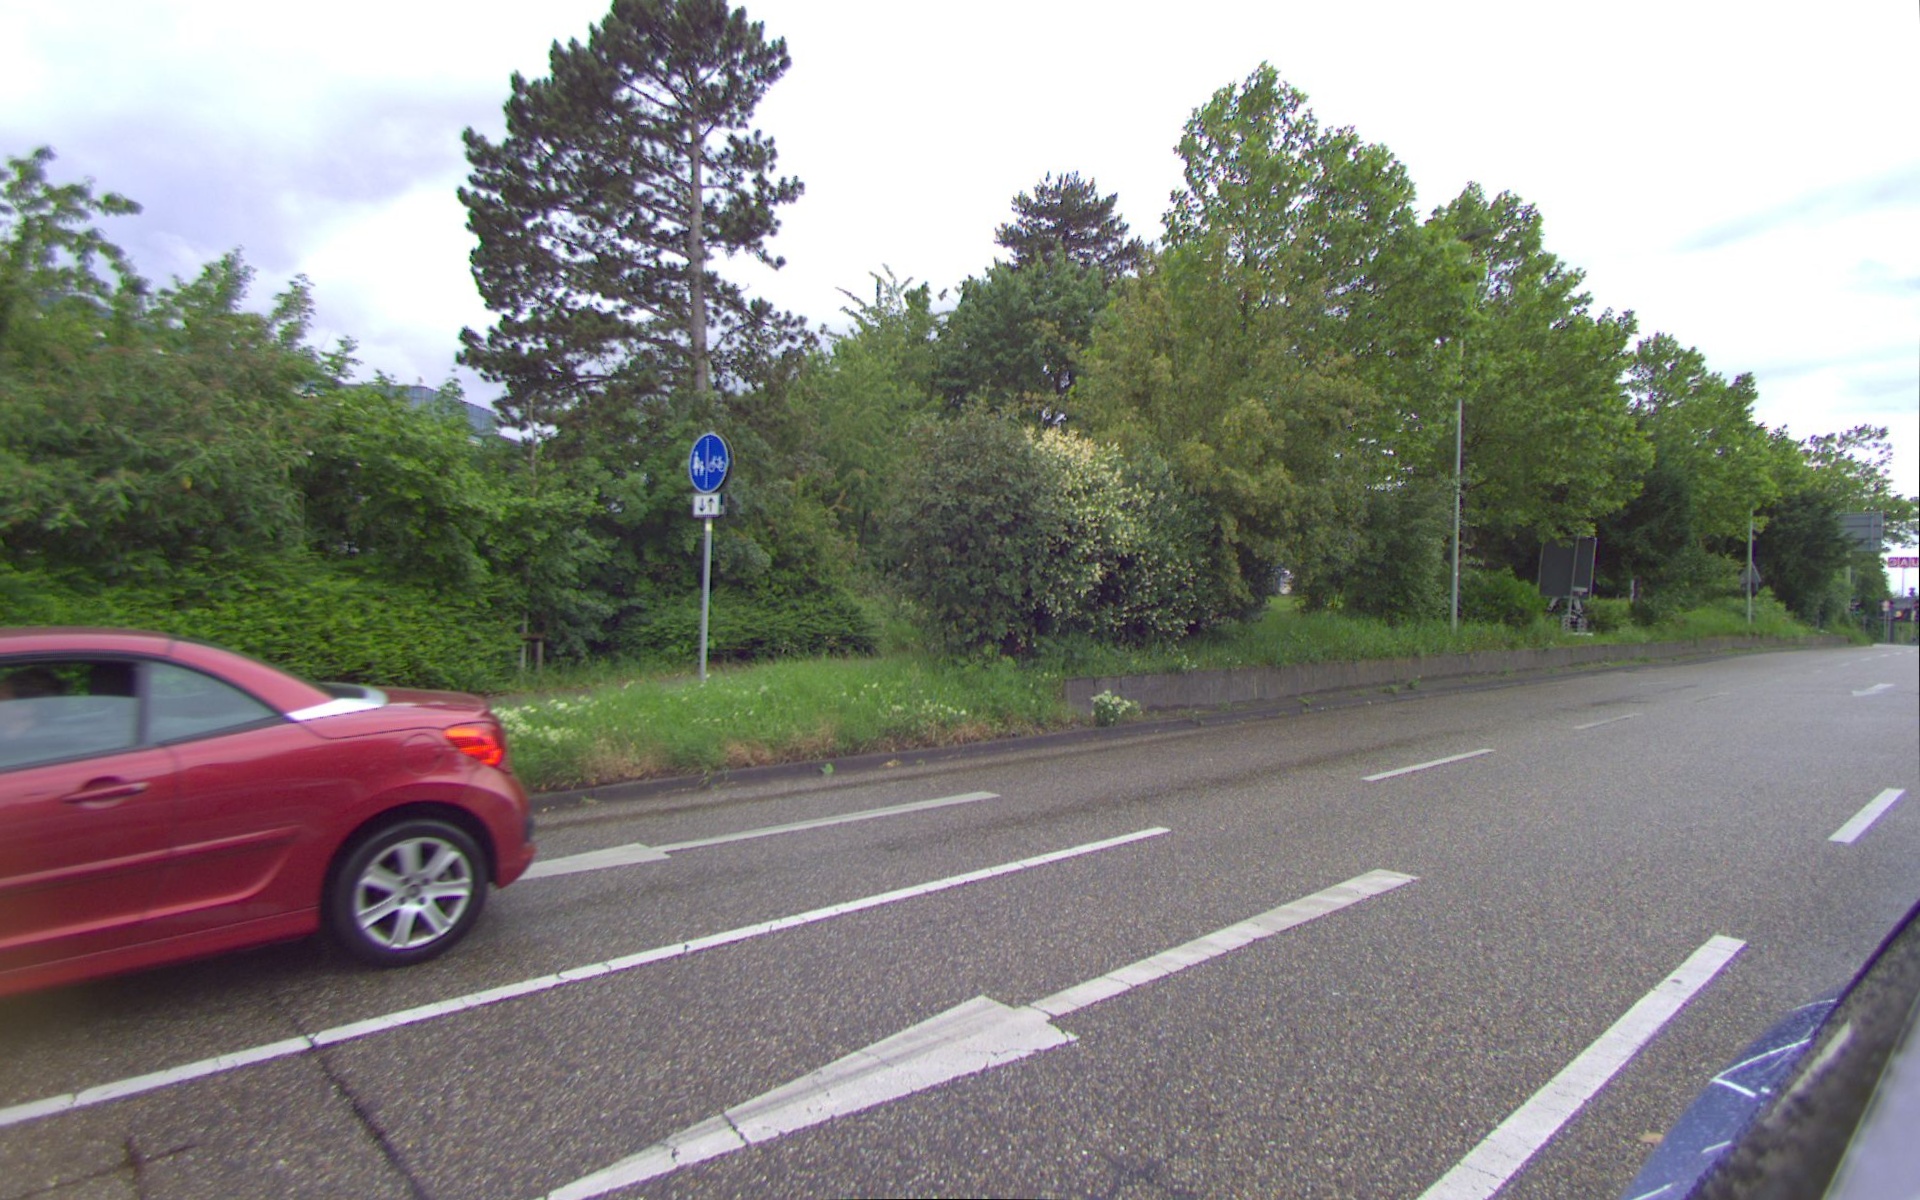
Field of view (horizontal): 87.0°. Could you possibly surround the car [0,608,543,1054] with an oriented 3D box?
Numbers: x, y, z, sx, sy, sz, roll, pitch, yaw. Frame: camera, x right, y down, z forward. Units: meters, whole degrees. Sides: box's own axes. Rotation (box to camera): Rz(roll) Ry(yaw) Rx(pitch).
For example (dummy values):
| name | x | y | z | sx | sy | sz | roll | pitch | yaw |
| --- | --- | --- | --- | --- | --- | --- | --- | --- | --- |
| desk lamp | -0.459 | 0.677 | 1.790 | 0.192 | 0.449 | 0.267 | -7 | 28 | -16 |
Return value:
| name | x | y | z | sx | sy | sz | roll | pitch | yaw |
| --- | --- | --- | --- | --- | --- | --- | --- | --- | --- |
| car | -3.707 | 0.757 | 3.822 | 3.627 | 1.421 | 1.627 | 0 | 0 | -43 |
